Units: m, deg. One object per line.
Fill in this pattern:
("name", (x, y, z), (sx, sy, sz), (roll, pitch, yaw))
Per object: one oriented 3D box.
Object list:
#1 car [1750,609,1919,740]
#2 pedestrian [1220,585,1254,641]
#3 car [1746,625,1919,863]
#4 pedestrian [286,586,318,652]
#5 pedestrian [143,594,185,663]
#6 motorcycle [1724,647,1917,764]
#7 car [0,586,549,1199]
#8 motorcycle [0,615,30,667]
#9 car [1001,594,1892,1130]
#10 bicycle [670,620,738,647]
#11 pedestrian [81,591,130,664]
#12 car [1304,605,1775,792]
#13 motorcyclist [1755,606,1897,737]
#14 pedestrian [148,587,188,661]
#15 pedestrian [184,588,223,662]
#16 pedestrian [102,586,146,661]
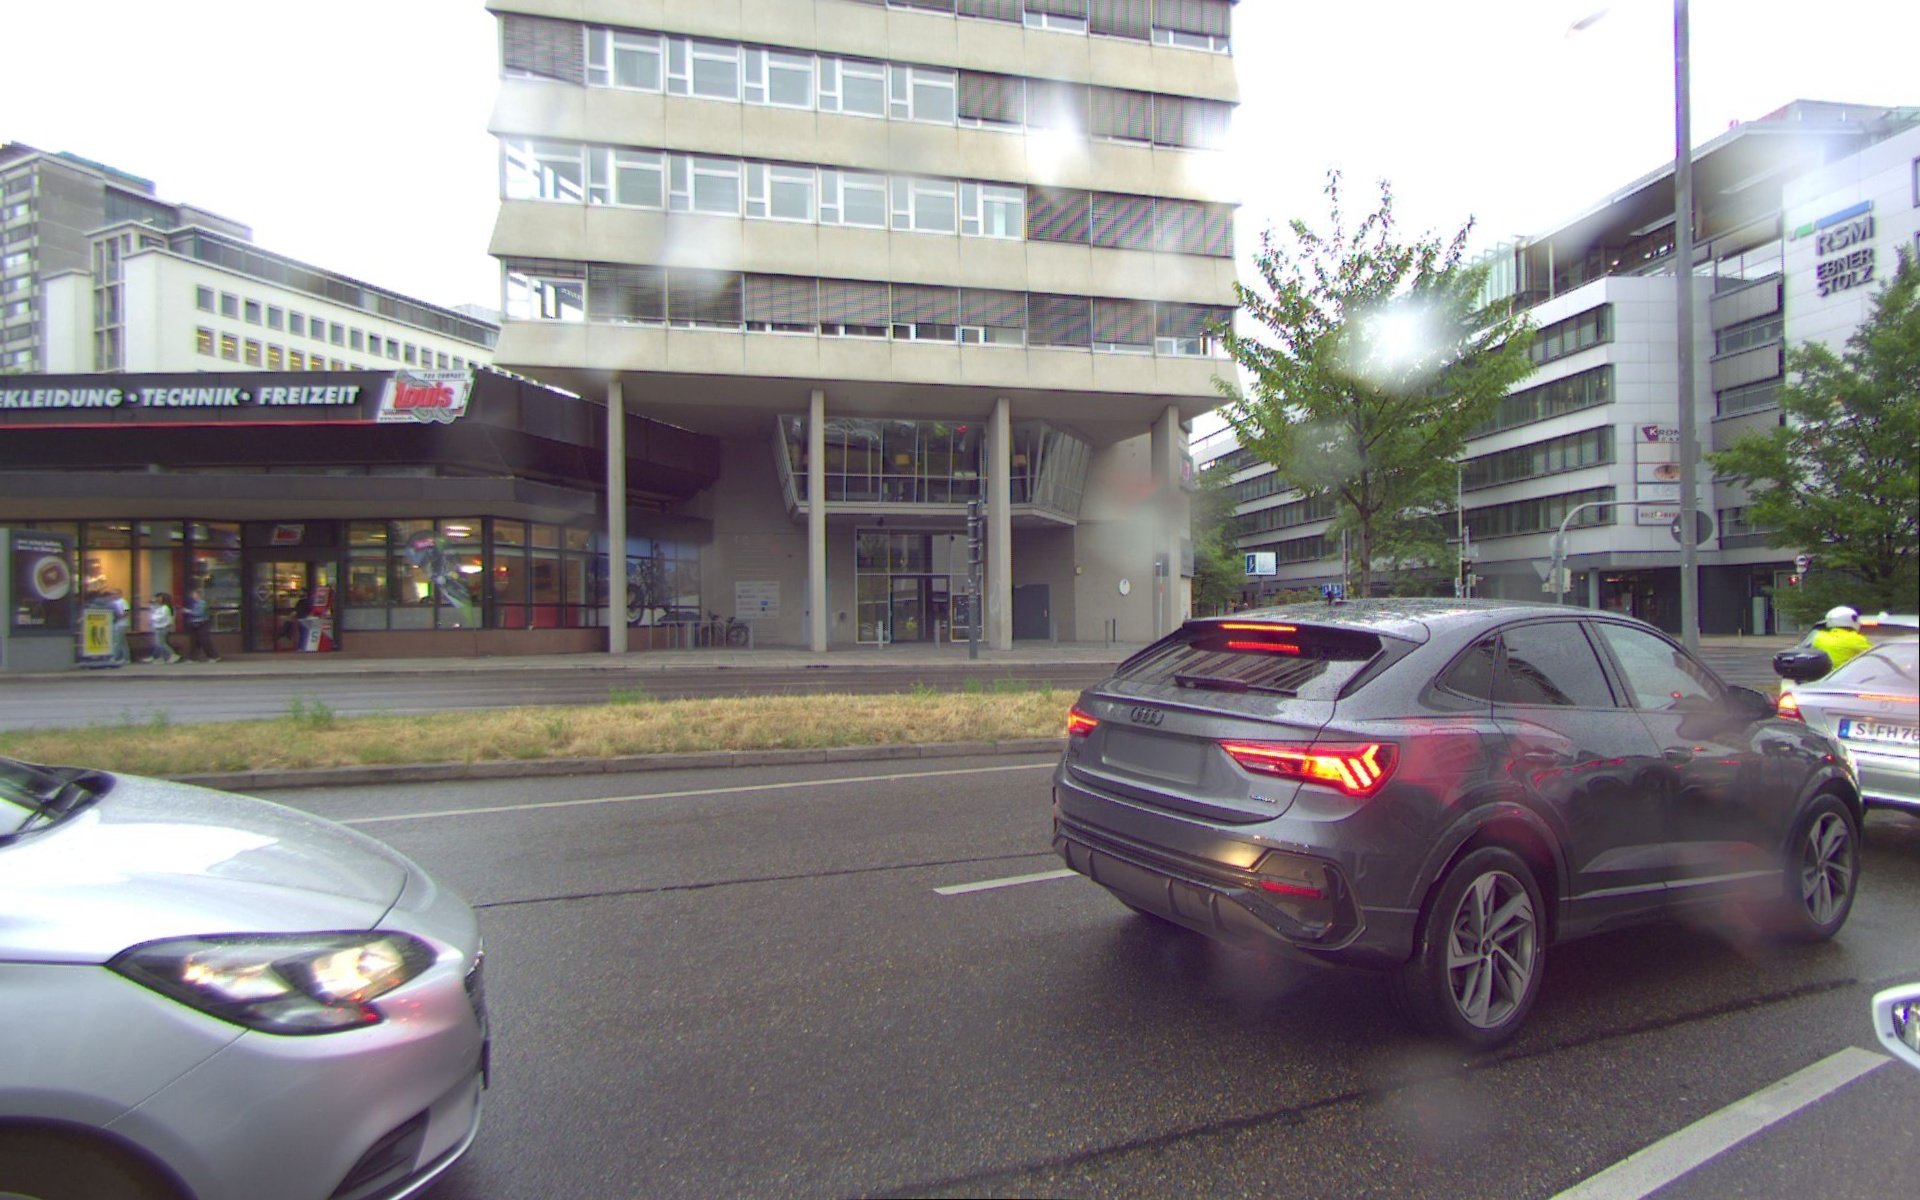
("car", (12.625, 0.932, 13.207), (3.940, 1.506, 1.704), (2, 0, -21))
("pedestrian", (8.503, 0.404, 30.837), (0.751, 1.706, 0.677), (1, 0, -16))
("car", (7.676, 0.952, 7.079), (4.050, 1.426, 1.567), (2, 0, -22))
("pedestrian", (-17.519, 0.505, 26.758), (0.488, 1.741, 0.525), (1, 0, 3))
("pedestrian", (-18.607, 0.670, 23.487), (0.548, 1.591, 0.541), (1, 0, -9))
("motorcycle", (9.748, 1.164, 11.377), (1.998, 1.200, 0.799), (2, 0, -21))
("car", (-2.871, 0.686, 1.692), (3.831, 1.455, 1.639), (1, 0, -32))
("motorcycle", (-23.537, 0.986, 24.190), (0.353, 1.249, 1.669), (1, 0, 20))
("car", (2.411, 0.782, 4.669), (4.220, 1.542, 1.640), (1, 0, -30))
("bicycle", (-8.601, 1.136, 33.851), (2.165, 0.871, 0.456), (2, 0, -31))
("pedestrian", (-19.499, 0.626, 22.927), (0.601, 1.633, 0.614), (1, 0, -9))
("car", (5.995, 0.866, 10.317), (4.713, 1.554, 1.859), (1, 0, -26))
("motorcyclist", (9.810, 0.788, 11.391), (1.102, 1.398, 0.768), (2, 0, -21))
("pedestrian", (-19.170, 0.569, 24.311), (0.548, 1.767, 0.541), (1, 0, -9))
("pedestrian", (-18.223, 0.597, 24.196), (0.548, 1.767, 0.541), (1, 0, -9))
("pedestrian", (-19.822, 0.554, 23.836), (0.548, 1.767, 0.614), (1, 0, -9))
